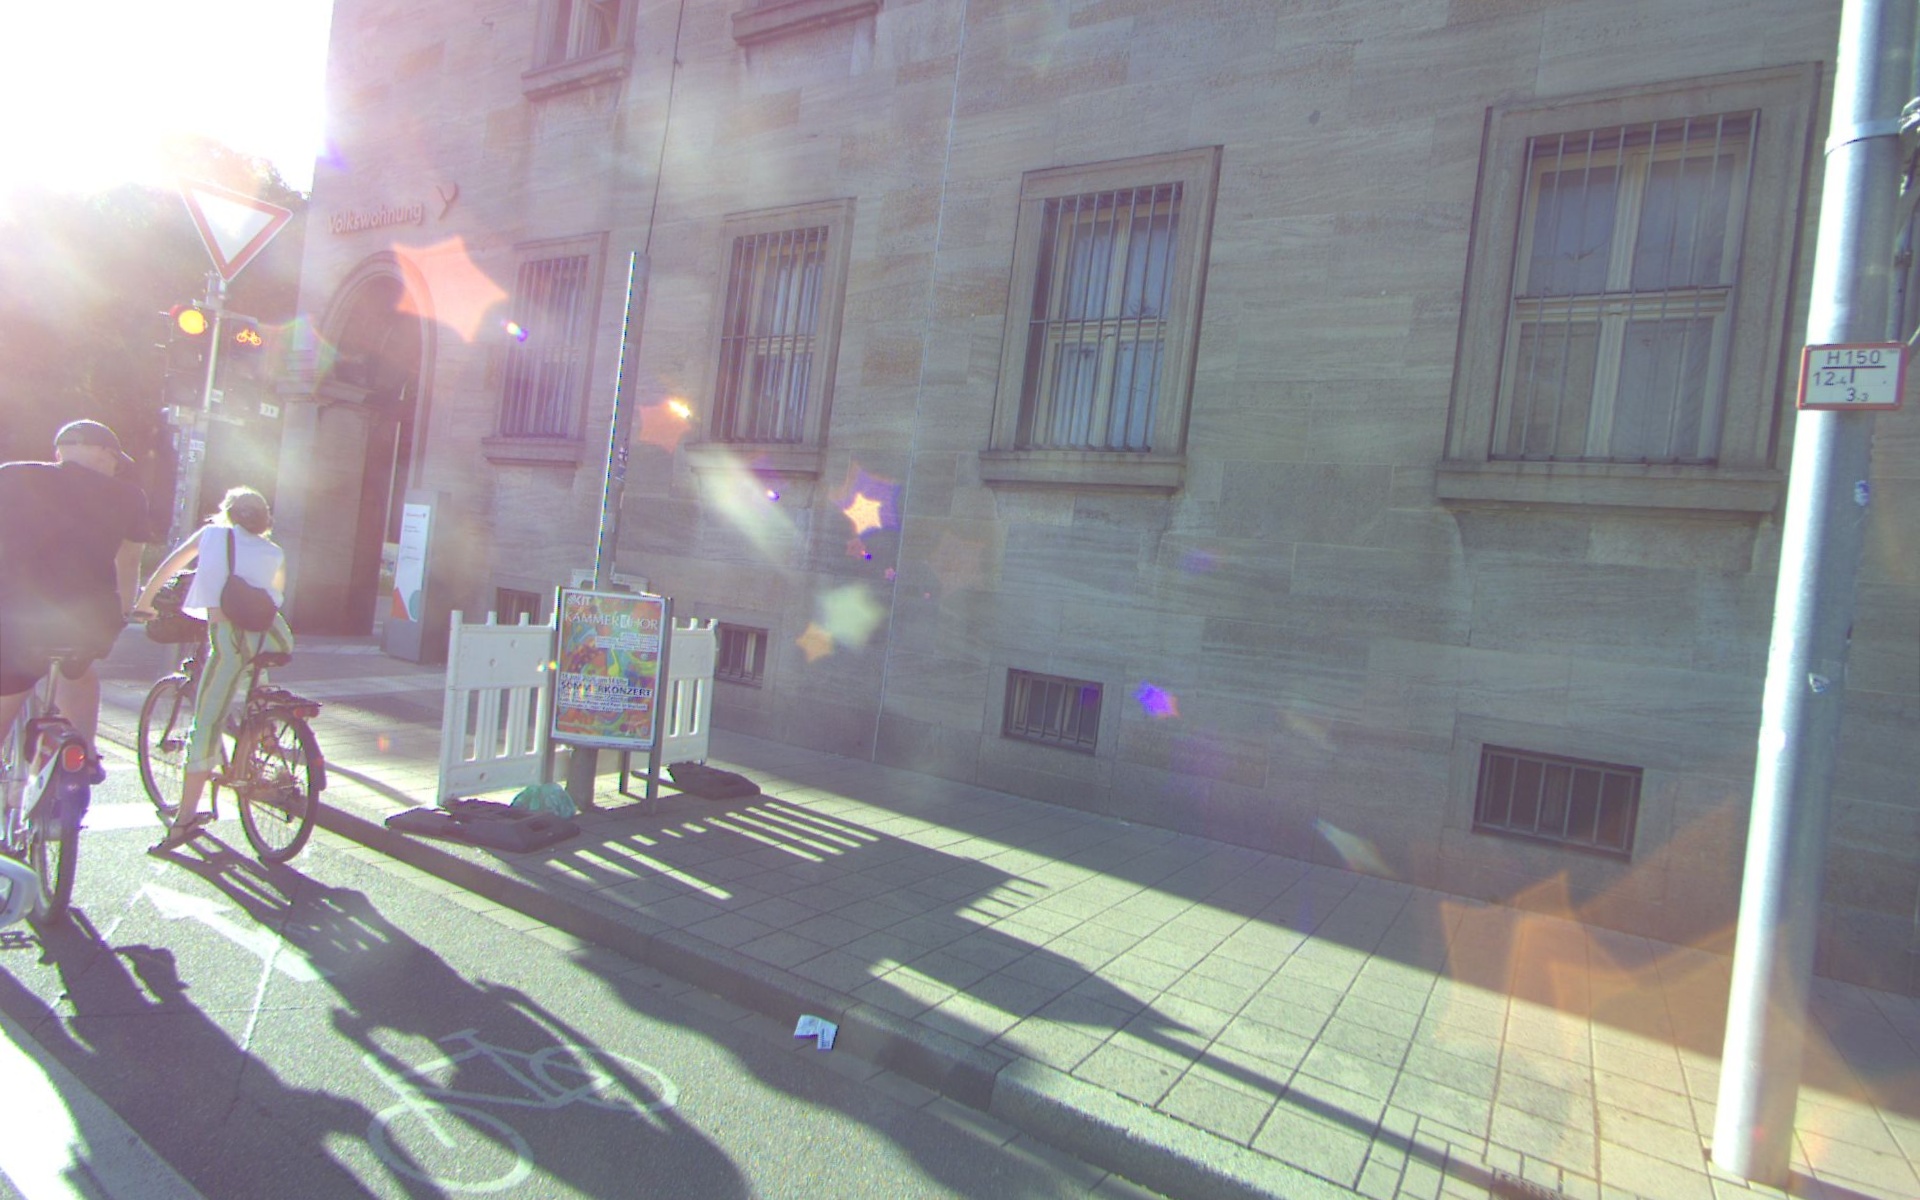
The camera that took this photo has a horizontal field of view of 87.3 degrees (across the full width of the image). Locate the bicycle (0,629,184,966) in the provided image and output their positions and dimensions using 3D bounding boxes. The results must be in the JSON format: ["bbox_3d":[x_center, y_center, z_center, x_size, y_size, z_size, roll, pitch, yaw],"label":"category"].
[{"bbox_3d":[-3.668,0.681,4.069,1.923,0.916,0.388,7,0,41],"label":"bicycle"}]

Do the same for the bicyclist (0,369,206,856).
[{"bbox_3d":[-3.483,0.046,3.859,0.647,1.698,0.669,7,1,39],"label":"bicyclist"}]

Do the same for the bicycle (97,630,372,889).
[{"bbox_3d":[-3.647,0.710,4.986,1.920,0.887,0.427,7,0,35],"label":"bicycle"}]

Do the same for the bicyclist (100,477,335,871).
[{"bbox_3d":[-3.563,0.313,4.821,0.845,1.700,0.522,7,1,35],"label":"bicyclist"}]

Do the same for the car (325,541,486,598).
[{"bbox_3d":[-18.900,-1.011,34.496,1.748,1.345,4.446,7,-1,34],"label":"car"}]
